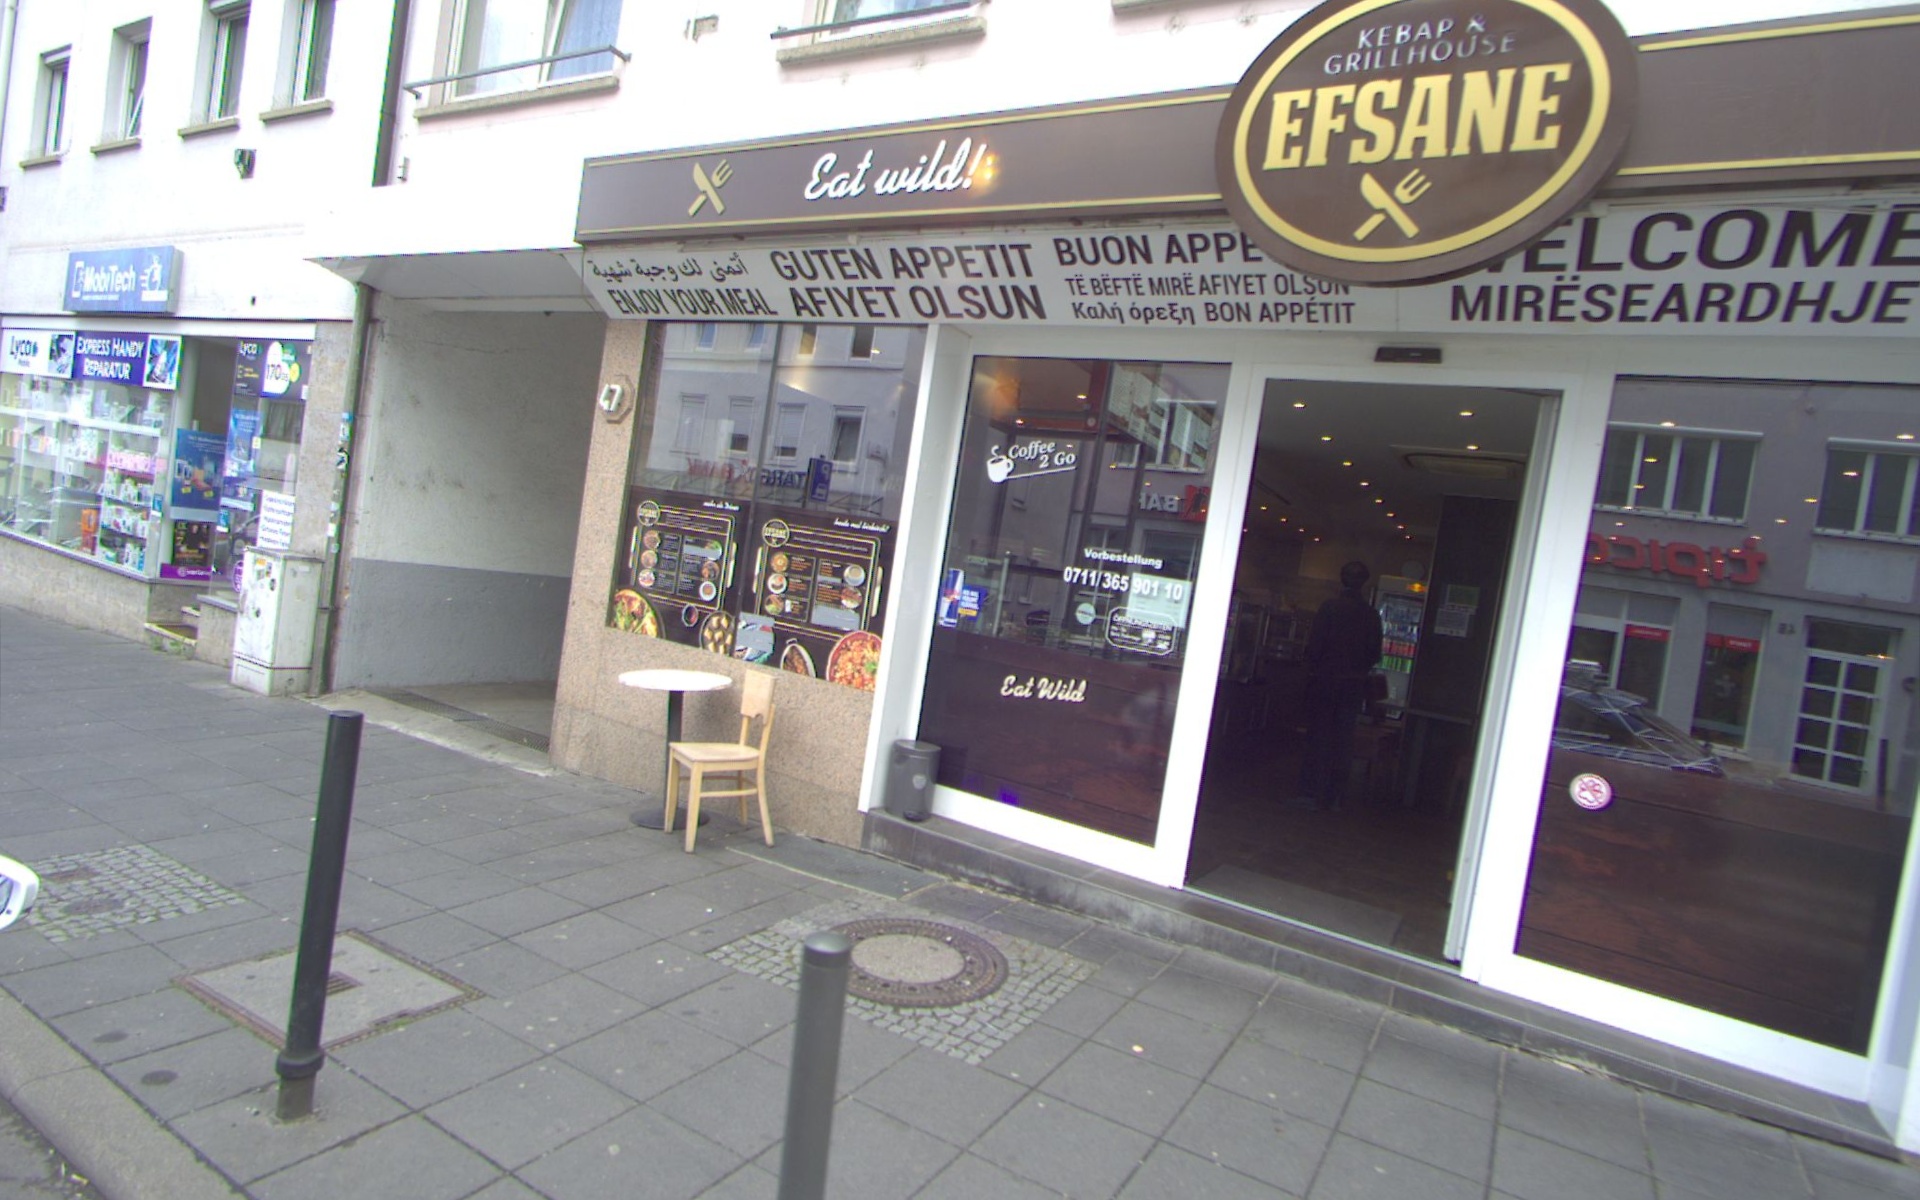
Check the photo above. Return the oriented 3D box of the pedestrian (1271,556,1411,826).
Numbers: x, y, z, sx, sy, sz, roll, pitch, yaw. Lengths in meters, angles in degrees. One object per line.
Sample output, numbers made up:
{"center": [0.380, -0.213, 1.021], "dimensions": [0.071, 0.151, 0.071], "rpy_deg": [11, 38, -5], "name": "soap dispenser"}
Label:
{"center": [2.654, 0.616, 7.067], "dimensions": [0.595, 1.747, 0.628], "rpy_deg": [7, 0, 8], "name": "pedestrian"}
